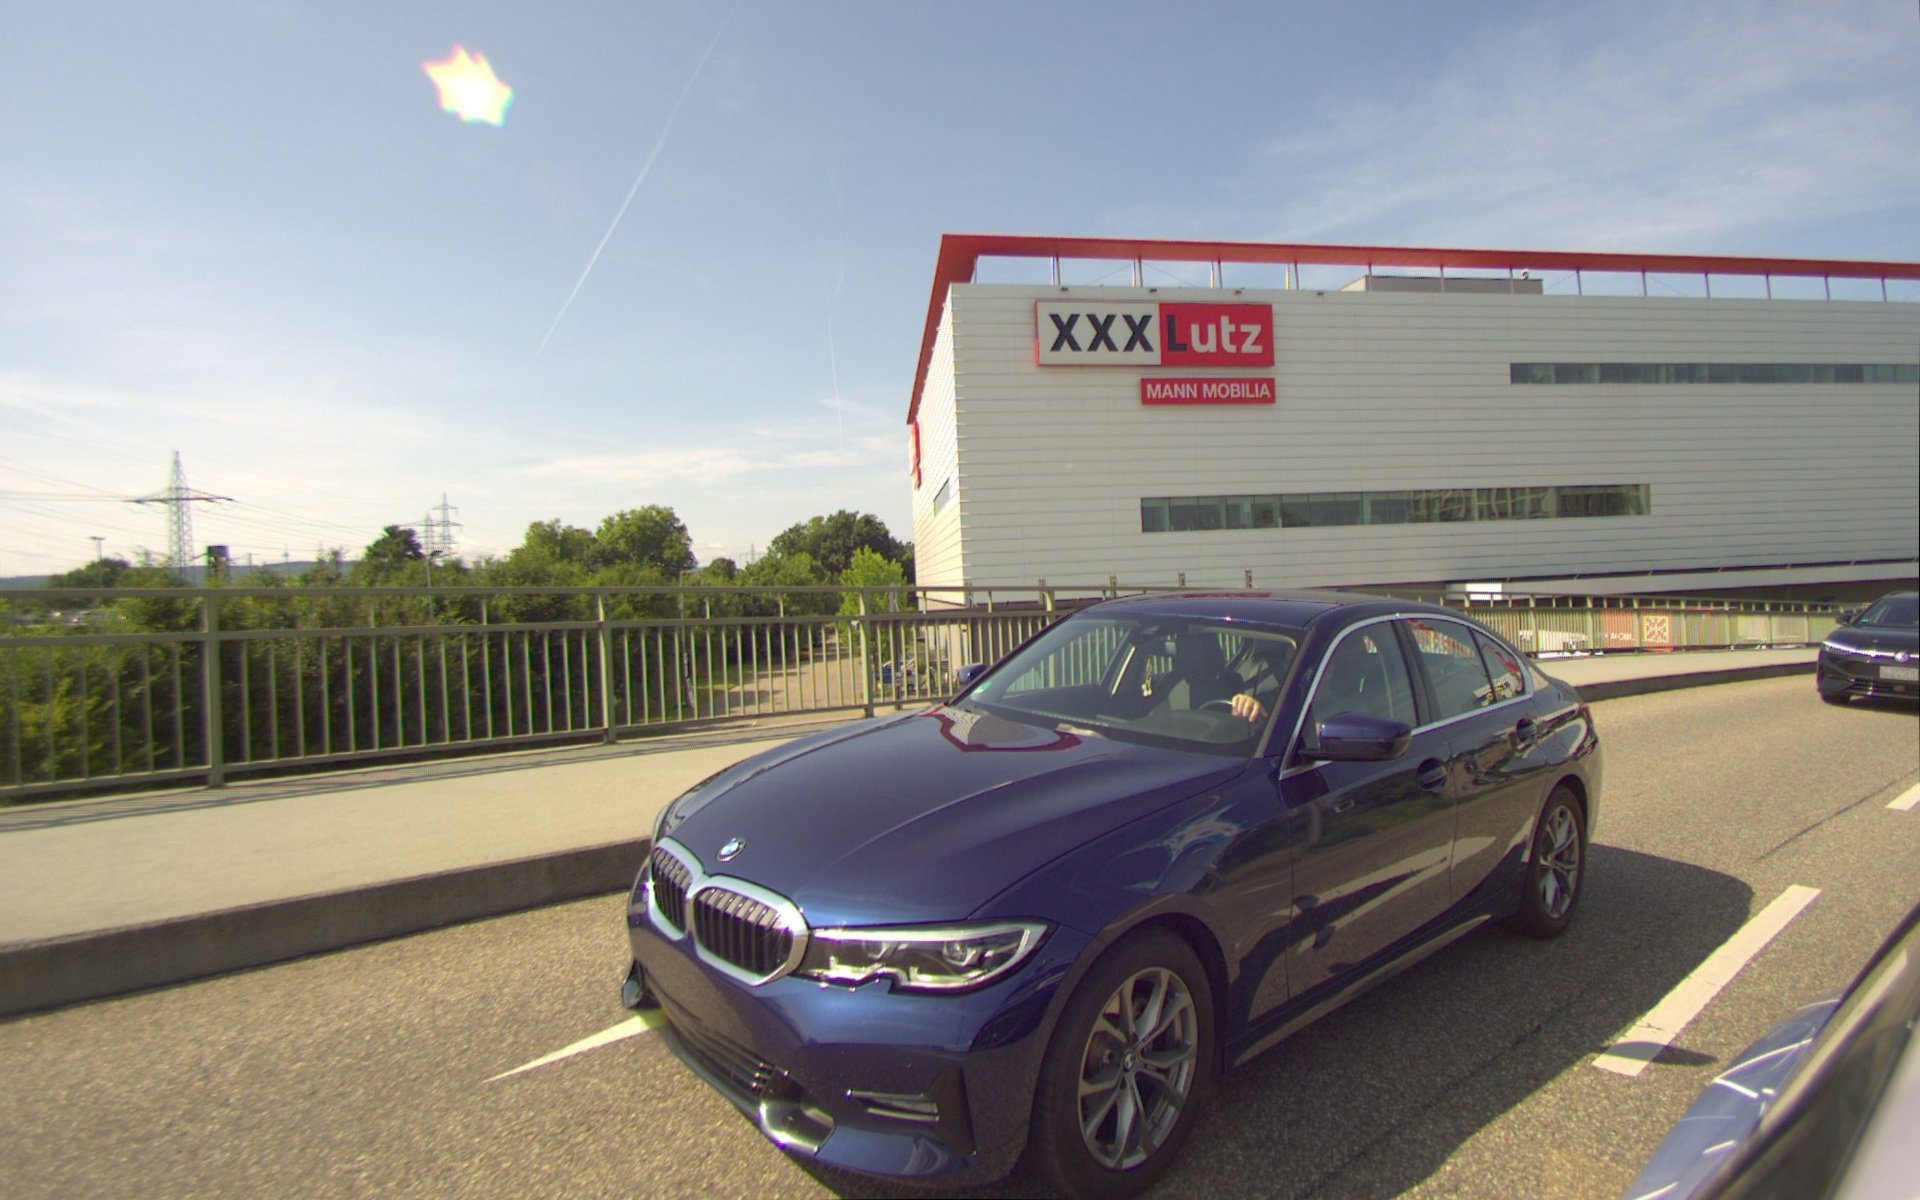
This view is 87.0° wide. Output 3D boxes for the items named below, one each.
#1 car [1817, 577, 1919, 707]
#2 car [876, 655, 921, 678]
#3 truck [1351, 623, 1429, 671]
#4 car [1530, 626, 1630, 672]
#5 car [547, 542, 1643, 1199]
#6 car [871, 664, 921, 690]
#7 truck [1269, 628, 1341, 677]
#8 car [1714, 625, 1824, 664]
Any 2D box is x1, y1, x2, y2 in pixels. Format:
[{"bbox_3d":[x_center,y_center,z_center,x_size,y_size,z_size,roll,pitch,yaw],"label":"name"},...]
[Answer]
[{"bbox_3d":[13.289,0.549,13.536,4.066,1.548,1.862,1,3,-37],"label":"car"},{"bbox_3d":[-5.321,5.729,87.153,3.749,1.658,1.810,-3,1,-5],"label":"car"},{"bbox_3d":[30.420,3.273,71.815,2.088,2.964,6.021,-3,0,-9],"label":"truck"},{"bbox_3d":[41.349,3.192,67.718,2.088,2.653,6.023,-3,0,-12],"label":"car"},{"bbox_3d":[0.961,0.597,4.015,4.443,1.502,1.790,-4,1,-41],"label":"car"},{"bbox_3d":[-4.979,5.961,78.296,3.749,1.658,1.810,-3,1,-5],"label":"car"},{"bbox_3d":[23.871,3.576,70.330,2.088,2.964,6.021,-3,0,-9],"label":"truck"},{"bbox_3d":[51.530,2.799,64.495,5.888,2.029,2.136,-3,2,-11],"label":"car"}]
